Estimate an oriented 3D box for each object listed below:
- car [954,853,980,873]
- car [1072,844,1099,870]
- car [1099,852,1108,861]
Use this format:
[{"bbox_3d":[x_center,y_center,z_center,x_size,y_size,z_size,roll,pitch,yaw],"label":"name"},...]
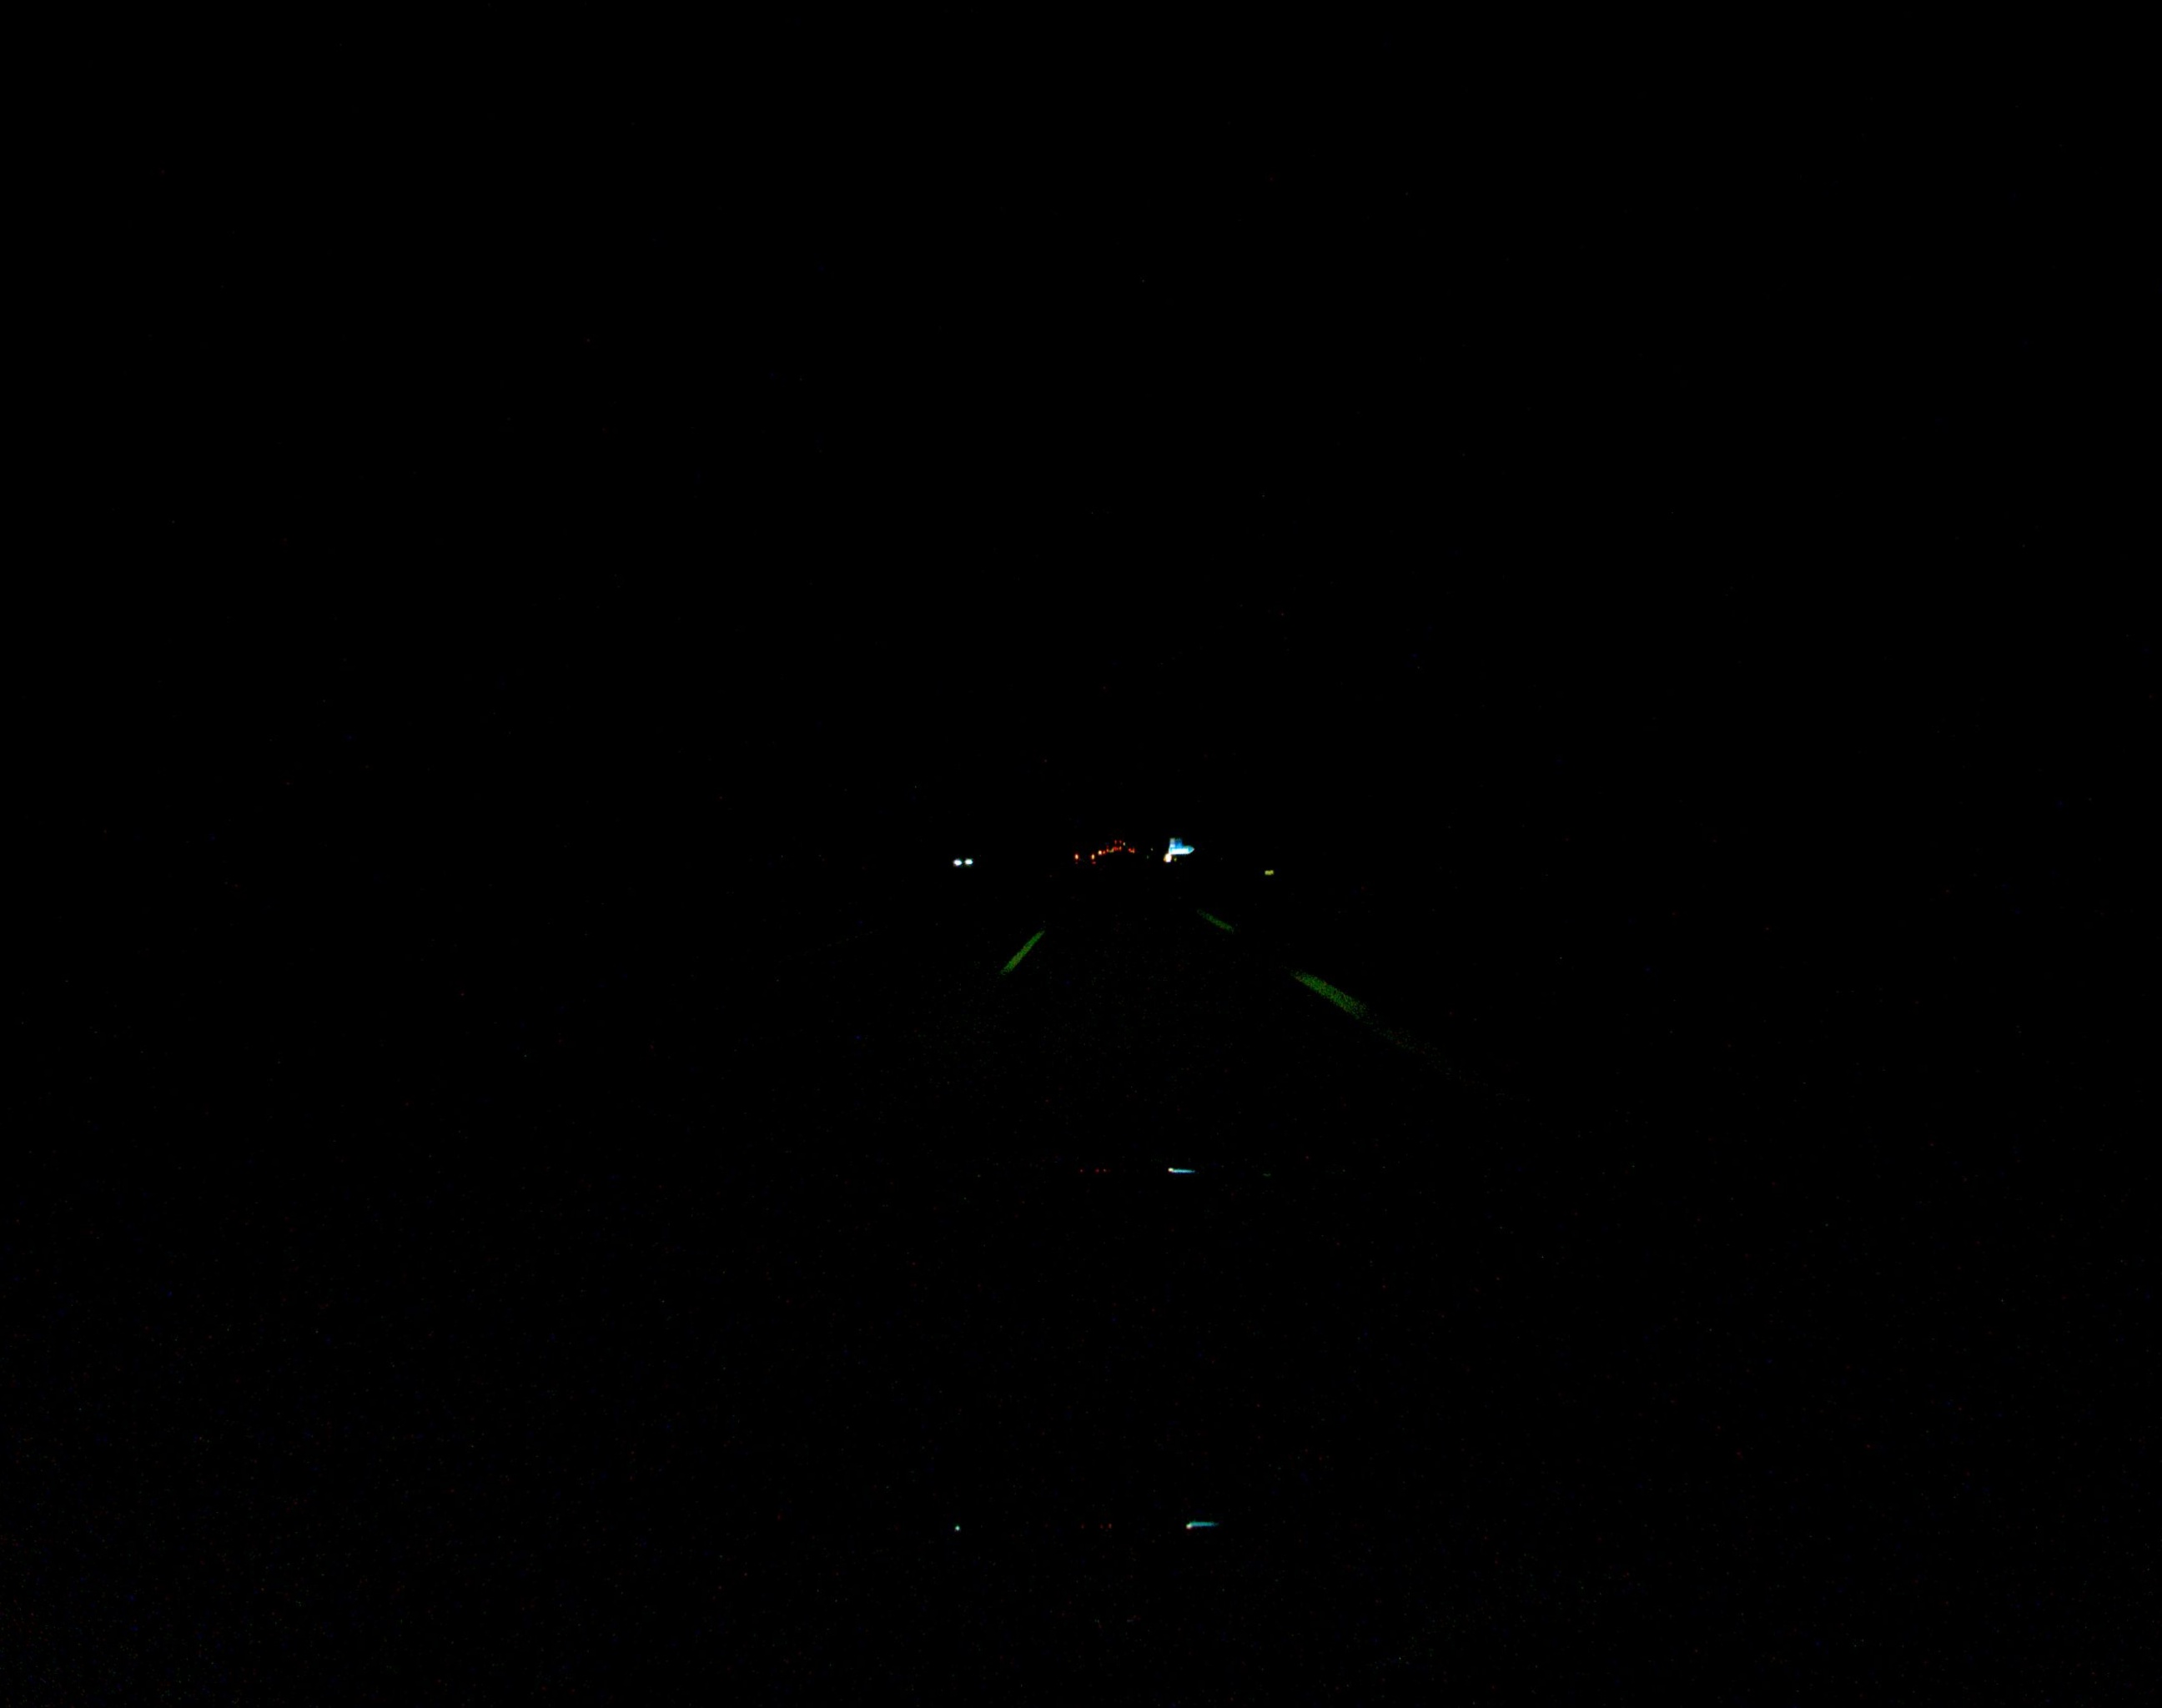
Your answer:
[{"bbox_3d":[-17.099,1.310,122.648,2.835,2.937,6.604,0,-1,2],"label":"car"},{"bbox_3d":[0.540,0.375,92.543,2.776,2.734,6.301,-1,-2,2],"label":"car"},{"bbox_3d":[7.146,0.899,257.009,2.776,2.734,6.299,-1,-2,1],"label":"car"}]
